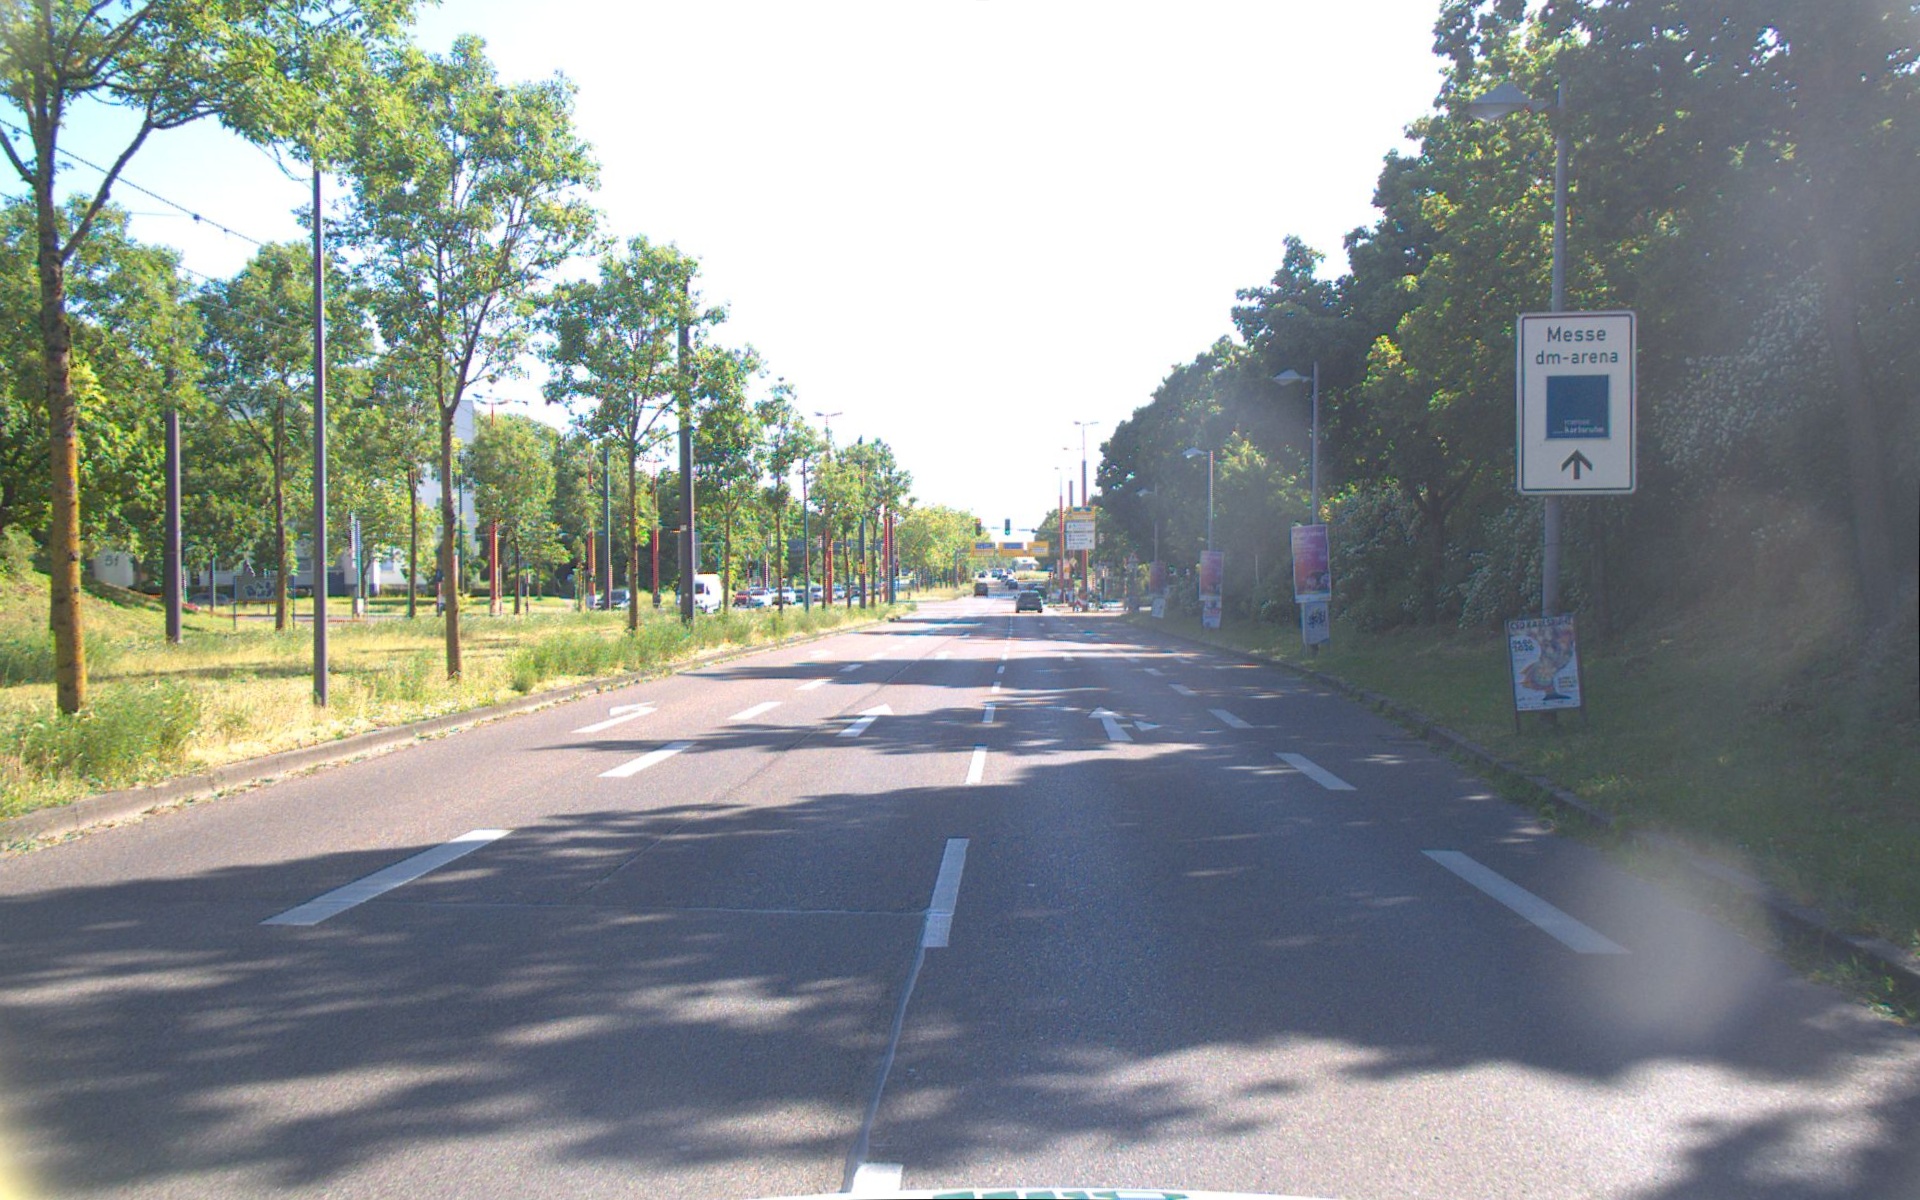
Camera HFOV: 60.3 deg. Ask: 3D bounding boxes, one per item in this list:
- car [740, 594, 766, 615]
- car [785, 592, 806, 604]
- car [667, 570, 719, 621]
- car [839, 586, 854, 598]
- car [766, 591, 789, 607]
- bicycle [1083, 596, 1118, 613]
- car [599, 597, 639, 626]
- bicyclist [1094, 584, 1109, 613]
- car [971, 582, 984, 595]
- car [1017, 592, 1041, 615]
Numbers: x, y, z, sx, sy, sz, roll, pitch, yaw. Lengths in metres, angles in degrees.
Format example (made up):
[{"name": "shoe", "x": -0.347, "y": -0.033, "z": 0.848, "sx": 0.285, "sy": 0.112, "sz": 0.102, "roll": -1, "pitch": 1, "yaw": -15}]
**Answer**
[{"name": "car", "x": -17.468, "y": 0.372, "z": 139.632, "sx": 1.597, "sy": 1.710, "sz": 4.192, "roll": 1, "pitch": 0, "yaw": 0}, {"name": "car", "x": -16.099, "y": -0.217, "z": 162.059, "sx": 1.597, "sy": 1.130, "sz": 4.192, "roll": 1, "pitch": 0, "yaw": 0}, {"name": "car", "x": -17.883, "y": -0.267, "z": 111.100, "sx": 2.415, "sy": 3.296, "sz": 6.134, "roll": 1, "pitch": 0, "yaw": 0}, {"name": "car", "x": -13.940, "y": -0.946, "z": 203.433, "sx": 1.597, "sy": 1.471, "sz": 4.192, "roll": 1, "pitch": 0, "yaw": 0}, {"name": "car", "x": -16.393, "y": -0.103, "z": 148.527, "sx": 1.597, "sy": 1.471, "sz": 4.192, "roll": 1, "pitch": 0, "yaw": 0}, {"name": "bicycle", "x": 9.935, "y": 0.324, "z": 116.911, "sx": 2.364, "sy": 1.129, "sz": 0.812, "roll": 1, "pitch": 0, "yaw": 1}, {"name": "car", "x": -20.817, "y": 0.663, "z": 101.082, "sx": 1.597, "sy": 1.710, "sz": 4.192, "roll": 1, "pitch": 0, "yaw": 0}, {"name": "bicyclist", "x": 10.023, "y": -0.128, "z": 116.909, "sx": 0.988, "sy": 2.042, "sz": 0.812, "roll": 1, "pitch": 0, "yaw": 1}, {"name": "car", "x": 2.234, "y": -1.452, "z": 209.065, "sx": 1.600, "sy": 1.524, "sz": 4.236, "roll": 1, "pitch": 0, "yaw": 2}, {"name": "car", "x": 4.635, "y": 0.209, "z": 111.117, "sx": 1.600, "sy": 1.524, "sz": 4.236, "roll": 1, "pitch": 0, "yaw": 2}]
